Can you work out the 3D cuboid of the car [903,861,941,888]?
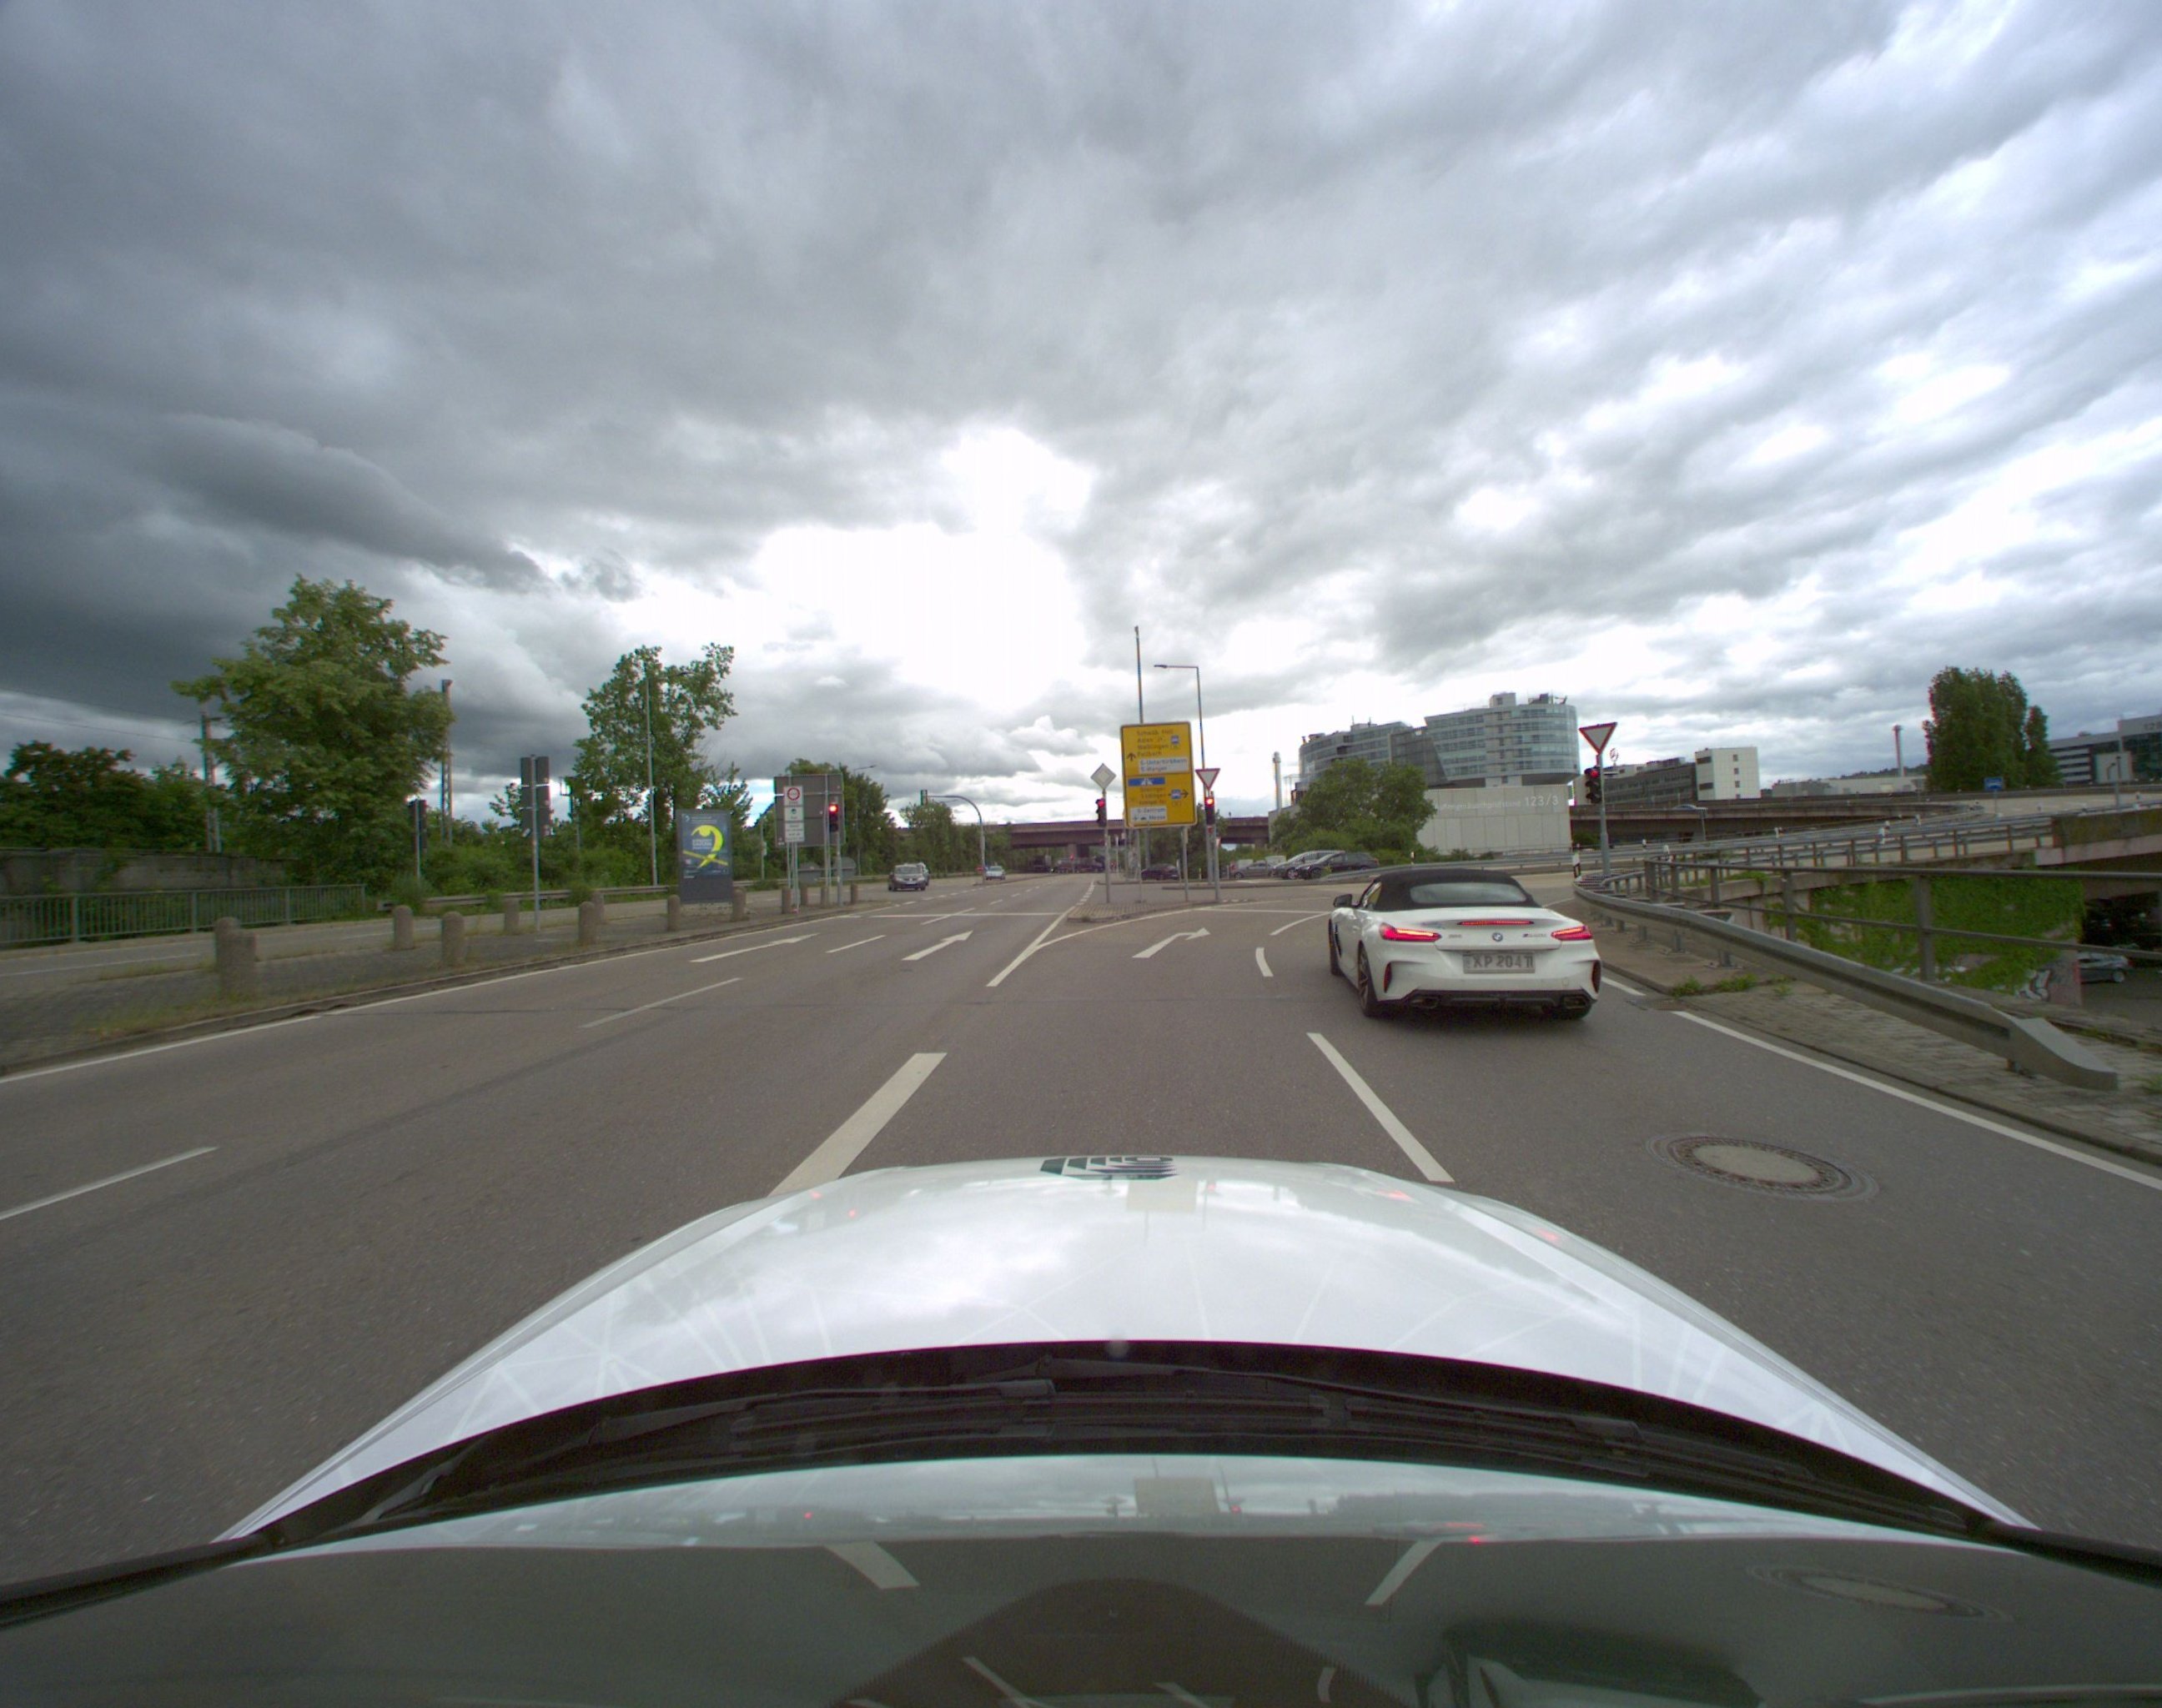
[{"bbox_3d":[-11.350,1.422,58.381,1.718,1.737,4.555,-2,-1,0],"label":"car"}]

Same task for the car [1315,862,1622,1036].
[{"bbox_3d":[3.609,0.761,8.478,1.794,1.291,4.275,-1,0,10],"label":"car"}]

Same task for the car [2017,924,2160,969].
[{"bbox_3d":[47.646,4.332,38.628,1.823,1.637,3.846,-3,0,-13],"label":"car"}]

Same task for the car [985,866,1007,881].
[{"bbox_3d":[-8.902,2.048,85.840,1.718,1.400,4.067,-2,-1,1],"label":"car"}]

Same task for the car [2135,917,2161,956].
[{"bbox_3d":[54.693,4.125,39.538,1.823,1.760,3.846,-3,0,-13],"label":"car"}]

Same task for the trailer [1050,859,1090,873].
[{"bbox_3d":[-2.289,2.451,166.628,8.460,2.624,2.626,2,-1,39],"label":"trailer"}]

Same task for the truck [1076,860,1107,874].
[{"bbox_3d":[2.128,2.551,164.231,5.715,2.624,2.632,2,-1,18],"label":"truck"}]

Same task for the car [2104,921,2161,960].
[{"bbox_3d":[52.515,4.207,39.076,1.823,1.617,3.846,-3,0,-13],"label":"car"}]

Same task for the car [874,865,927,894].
[{"bbox_3d":[-10.276,1.479,46.223,1.735,1.462,4.202,2,-5,-30],"label":"car"}]

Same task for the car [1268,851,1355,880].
[{"bbox_3d":[13.853,0.688,49.101,4.664,1.571,1.955,-2,0,-1],"label":"car"}]

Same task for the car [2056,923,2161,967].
[{"bbox_3d":[49.842,4.299,38.850,1.823,1.637,3.846,-3,0,-13],"label":"car"}]

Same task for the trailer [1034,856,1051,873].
[{"bbox_3d":[-9.618,2.657,204.230,2.859,4.084,11.438,0,0,4],"label":"trailer"}]

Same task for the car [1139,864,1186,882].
[{"bbox_3d":[6.832,1.623,68.671,2.006,1.464,4.069,1,-3,-30],"label":"car"}]

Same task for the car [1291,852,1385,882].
[{"bbox_3d":[14.180,0.686,45.107,4.595,1.457,1.954,-2,0,-3],"label":"car"}]

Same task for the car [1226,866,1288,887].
[{"bbox_3d":[13.200,1.679,60.981,4.057,1.442,2.012,-2,-3,31],"label":"car"}]

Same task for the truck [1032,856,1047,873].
[{"bbox_3d":[-10.005,2.621,198.871,2.859,4.084,6.494,0,0,4],"label":"truck"}]
